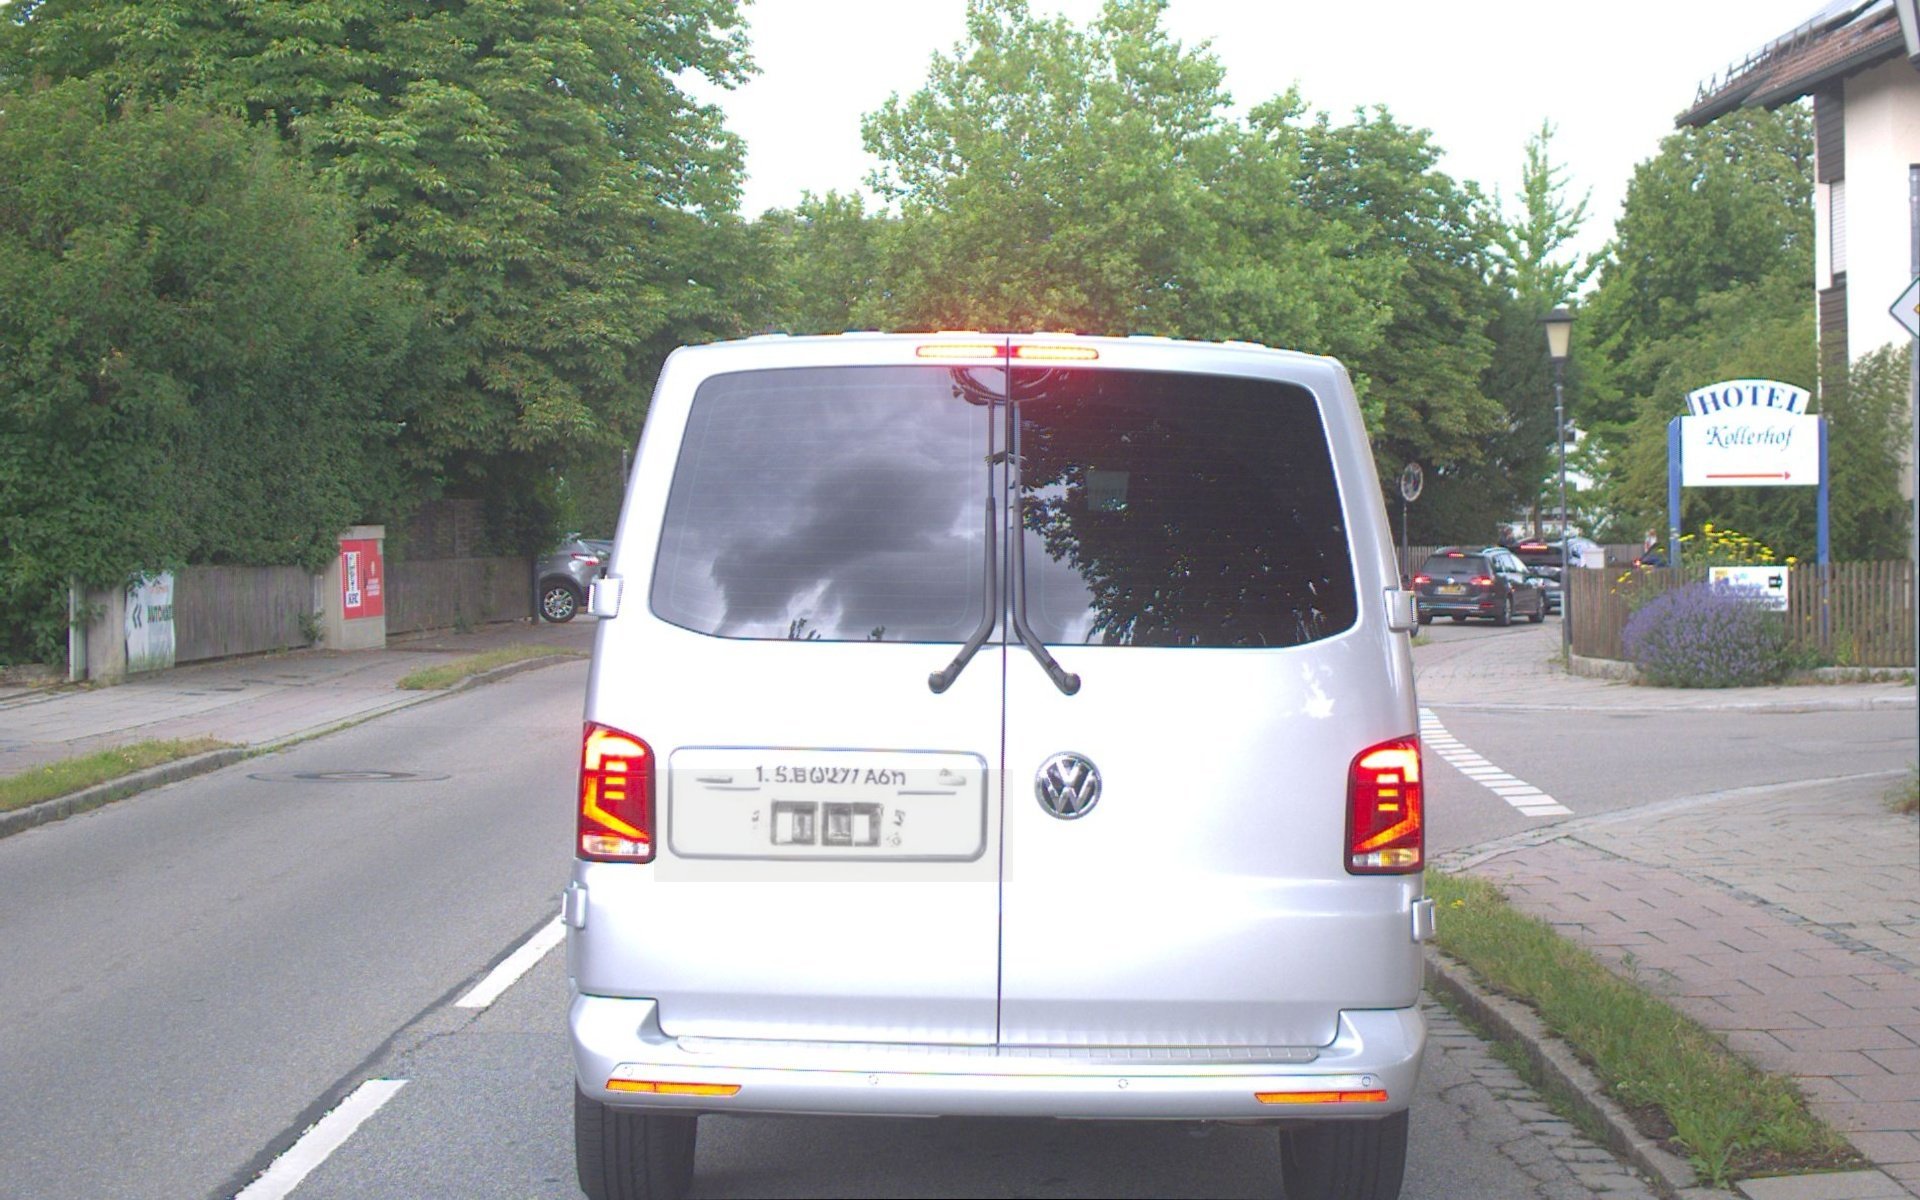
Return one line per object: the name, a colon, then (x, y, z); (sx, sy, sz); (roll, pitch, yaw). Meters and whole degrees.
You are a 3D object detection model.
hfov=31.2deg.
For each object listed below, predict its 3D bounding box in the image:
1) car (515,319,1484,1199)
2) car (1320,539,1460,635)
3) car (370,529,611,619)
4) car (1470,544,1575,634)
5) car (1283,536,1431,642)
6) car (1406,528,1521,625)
car: (0.084, 0.392, 8.688); (1.881, 1.934, 3.921); (0, 1, 0)
car: (7.141, -0.237, 56.804); (1.882, 1.530, 3.918); (0, 1, 13)
car: (-7.964, -0.455, 58.360); (3.986, 1.481, 2.001); (0, 1, -8)
car: (11.822, -0.263, 72.101); (1.882, 1.819, 3.918); (0, 1, 13)
car: (6.020, -0.192, 51.839); (1.882, 1.530, 3.919); (0, 1, 11)
car: (9.575, -0.469, 65.202); (1.882, 1.742, 4.078); (-1, 1, 12)
